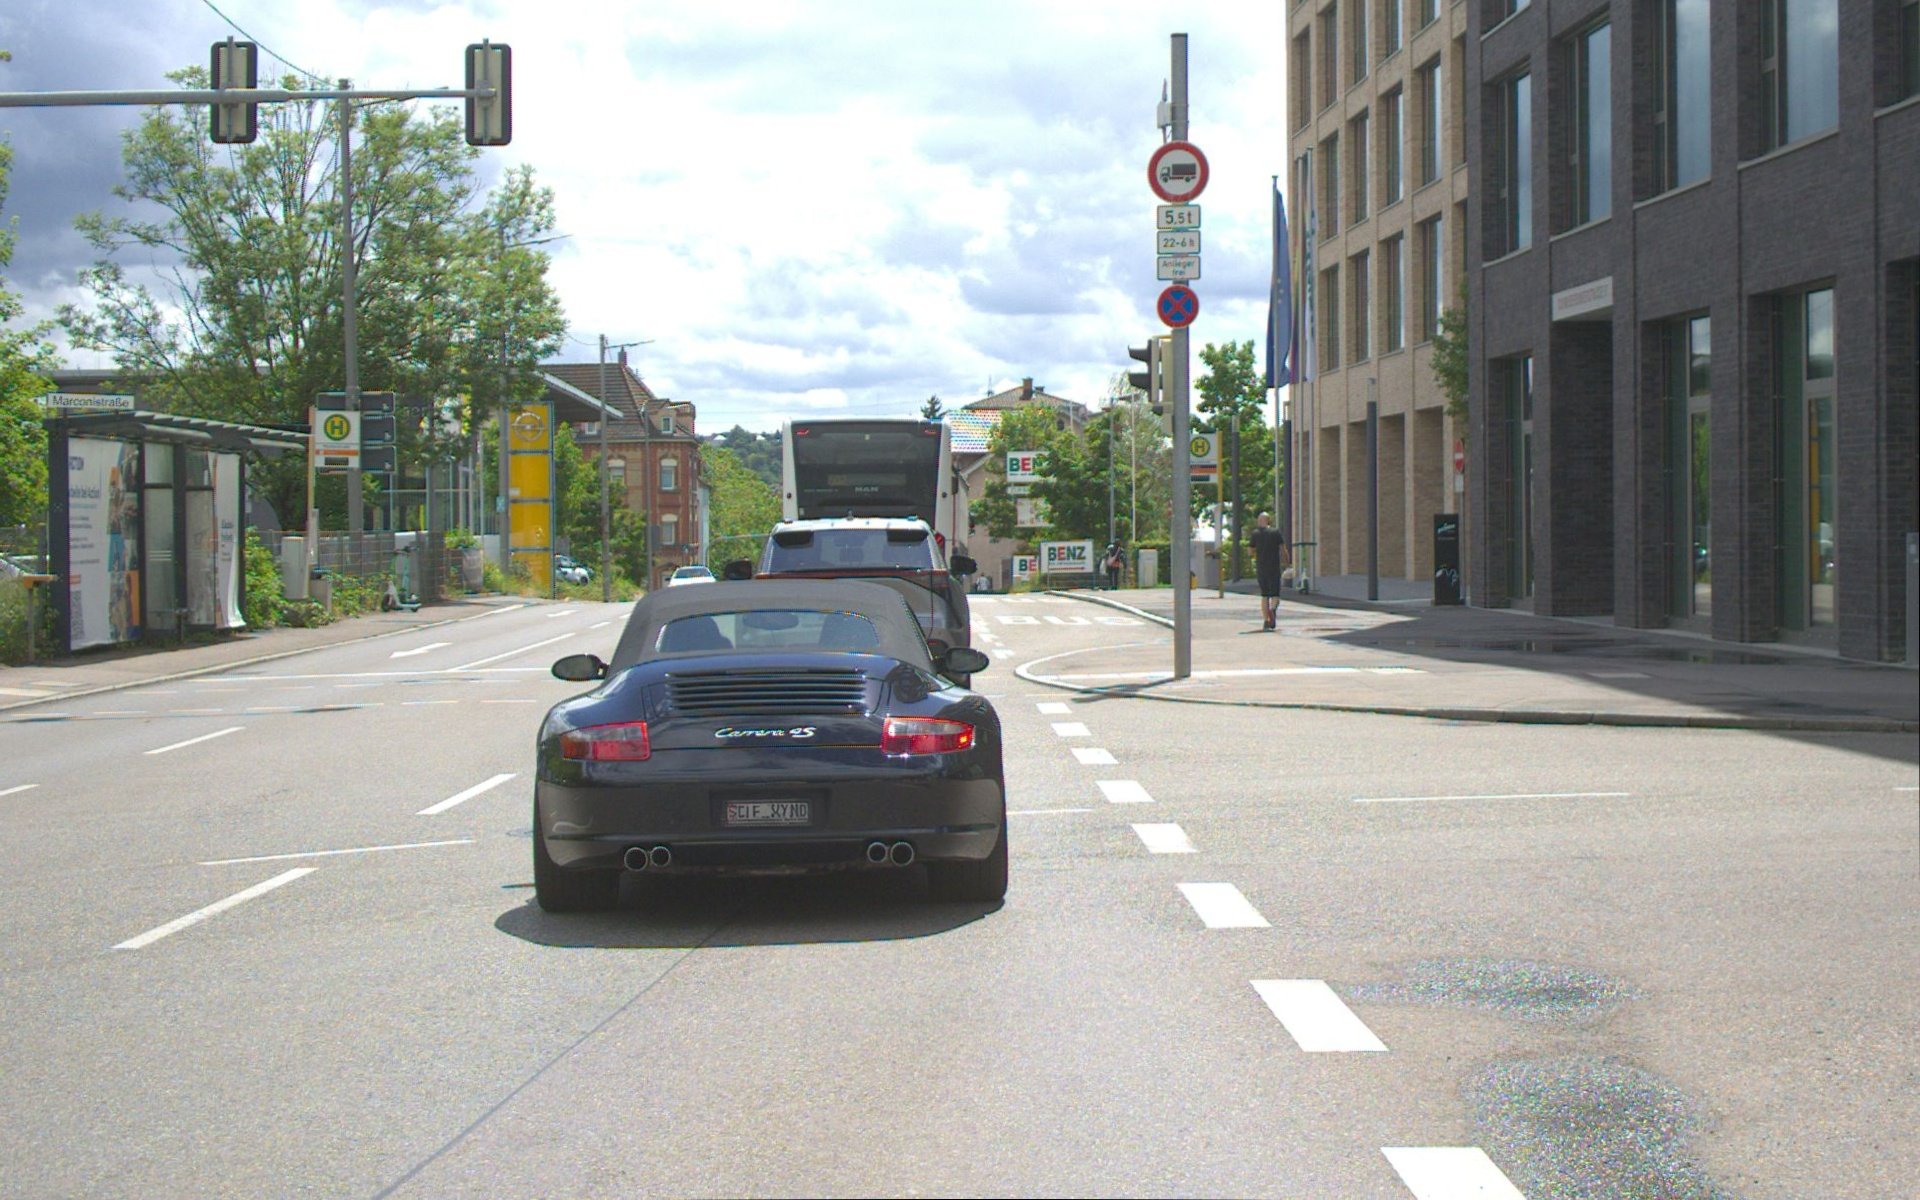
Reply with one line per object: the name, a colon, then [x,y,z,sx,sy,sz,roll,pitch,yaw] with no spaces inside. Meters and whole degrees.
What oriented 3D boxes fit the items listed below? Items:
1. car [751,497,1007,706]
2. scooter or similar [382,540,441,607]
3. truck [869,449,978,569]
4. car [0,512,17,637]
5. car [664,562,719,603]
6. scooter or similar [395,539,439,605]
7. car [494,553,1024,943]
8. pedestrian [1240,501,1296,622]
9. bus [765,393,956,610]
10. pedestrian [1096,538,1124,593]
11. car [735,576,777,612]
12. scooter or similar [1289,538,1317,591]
car: [-0.743,-0.034,28.310,1.930,1.577,4.209,0,1,-4]
scooter or similar: [-10.528,-0.518,65.980,0.535,1.258,1.470,1,1,16]
truck: [-1.052,-2.429,92.413,2.713,3.044,7.714,-1,1,-2]
car: [-17.627,-0.384,55.670,4.275,2.007,2.141,-1,0,-8]
car: [-9.854,-0.664,126.296,1.796,1.372,4.225,-2,2,-2]
scooter or similar: [-10.657,-0.554,67.476,0.535,1.262,1.471,1,1,4]
car: [-0.754,0.513,14.675,1.930,1.372,4.208,0,1,-1]
pedestrian: [4.451,-0.563,49.753,0.683,1.722,0.962,0,1,-2]
bus: [-1.474,-1.610,56.854,2.802,3.187,12.196,0,1,0]
pedestrian: [4.265,-0.978,97.868,0.687,1.531,0.856,-1,0,-2]
car: [-8.988,-0.269,151.542,1.829,1.504,4.277,-1,0,-3]
scooter or similar: [7.622,-0.793,76.478,0.427,1.149,1.404,-1,1,-2]
